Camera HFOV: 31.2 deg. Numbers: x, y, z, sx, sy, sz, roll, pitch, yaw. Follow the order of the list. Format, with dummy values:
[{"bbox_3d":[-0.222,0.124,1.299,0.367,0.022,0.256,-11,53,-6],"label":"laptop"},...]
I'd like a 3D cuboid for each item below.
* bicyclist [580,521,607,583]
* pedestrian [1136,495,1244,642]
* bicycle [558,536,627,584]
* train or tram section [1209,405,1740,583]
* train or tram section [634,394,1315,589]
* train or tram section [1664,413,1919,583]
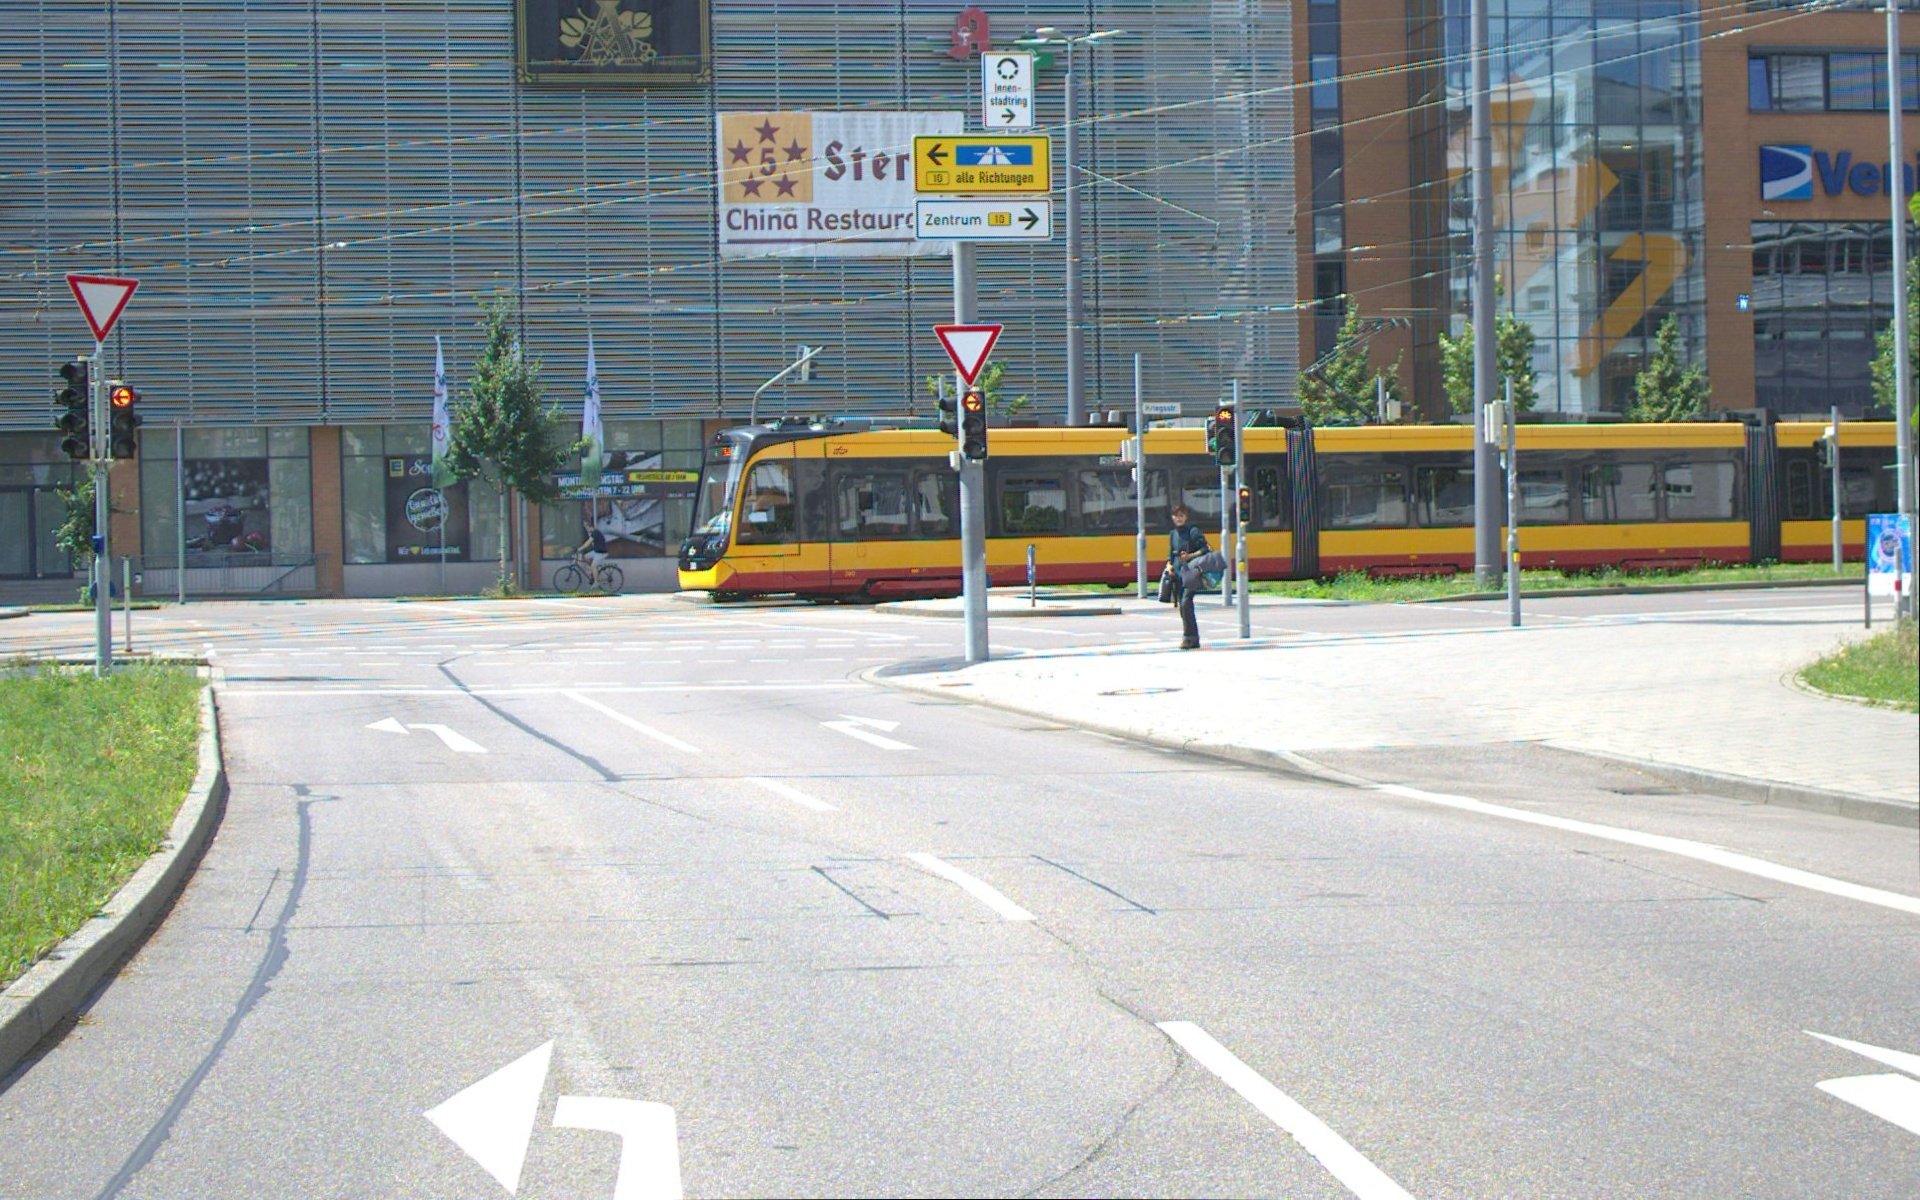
[{"bbox_3d":[-9.594,-1.263,89.937,0.662,1.618,0.551,0,1,-10],"label":"bicyclist"},{"bbox_3d":[2.721,-0.371,40.701,0.806,1.696,0.918,-3,1,-39],"label":"pedestrian"},{"bbox_3d":[-9.610,-1.049,89.940,1.760,1.219,0.584,0,1,-10],"label":"bicycle"},{"bbox_3d":[10.899,-2.212,72.608,10.954,3.591,3.066,0,1,-21],"label":"train or tram section"},{"bbox_3d":[0.446,-2.110,67.780,13.454,3.587,3.227,-1,2,-27],"label":"train or tram section"},{"bbox_3d":[22.003,-2.259,76.833,12.591,3.608,3.066,0,1,-21],"label":"train or tram section"}]
